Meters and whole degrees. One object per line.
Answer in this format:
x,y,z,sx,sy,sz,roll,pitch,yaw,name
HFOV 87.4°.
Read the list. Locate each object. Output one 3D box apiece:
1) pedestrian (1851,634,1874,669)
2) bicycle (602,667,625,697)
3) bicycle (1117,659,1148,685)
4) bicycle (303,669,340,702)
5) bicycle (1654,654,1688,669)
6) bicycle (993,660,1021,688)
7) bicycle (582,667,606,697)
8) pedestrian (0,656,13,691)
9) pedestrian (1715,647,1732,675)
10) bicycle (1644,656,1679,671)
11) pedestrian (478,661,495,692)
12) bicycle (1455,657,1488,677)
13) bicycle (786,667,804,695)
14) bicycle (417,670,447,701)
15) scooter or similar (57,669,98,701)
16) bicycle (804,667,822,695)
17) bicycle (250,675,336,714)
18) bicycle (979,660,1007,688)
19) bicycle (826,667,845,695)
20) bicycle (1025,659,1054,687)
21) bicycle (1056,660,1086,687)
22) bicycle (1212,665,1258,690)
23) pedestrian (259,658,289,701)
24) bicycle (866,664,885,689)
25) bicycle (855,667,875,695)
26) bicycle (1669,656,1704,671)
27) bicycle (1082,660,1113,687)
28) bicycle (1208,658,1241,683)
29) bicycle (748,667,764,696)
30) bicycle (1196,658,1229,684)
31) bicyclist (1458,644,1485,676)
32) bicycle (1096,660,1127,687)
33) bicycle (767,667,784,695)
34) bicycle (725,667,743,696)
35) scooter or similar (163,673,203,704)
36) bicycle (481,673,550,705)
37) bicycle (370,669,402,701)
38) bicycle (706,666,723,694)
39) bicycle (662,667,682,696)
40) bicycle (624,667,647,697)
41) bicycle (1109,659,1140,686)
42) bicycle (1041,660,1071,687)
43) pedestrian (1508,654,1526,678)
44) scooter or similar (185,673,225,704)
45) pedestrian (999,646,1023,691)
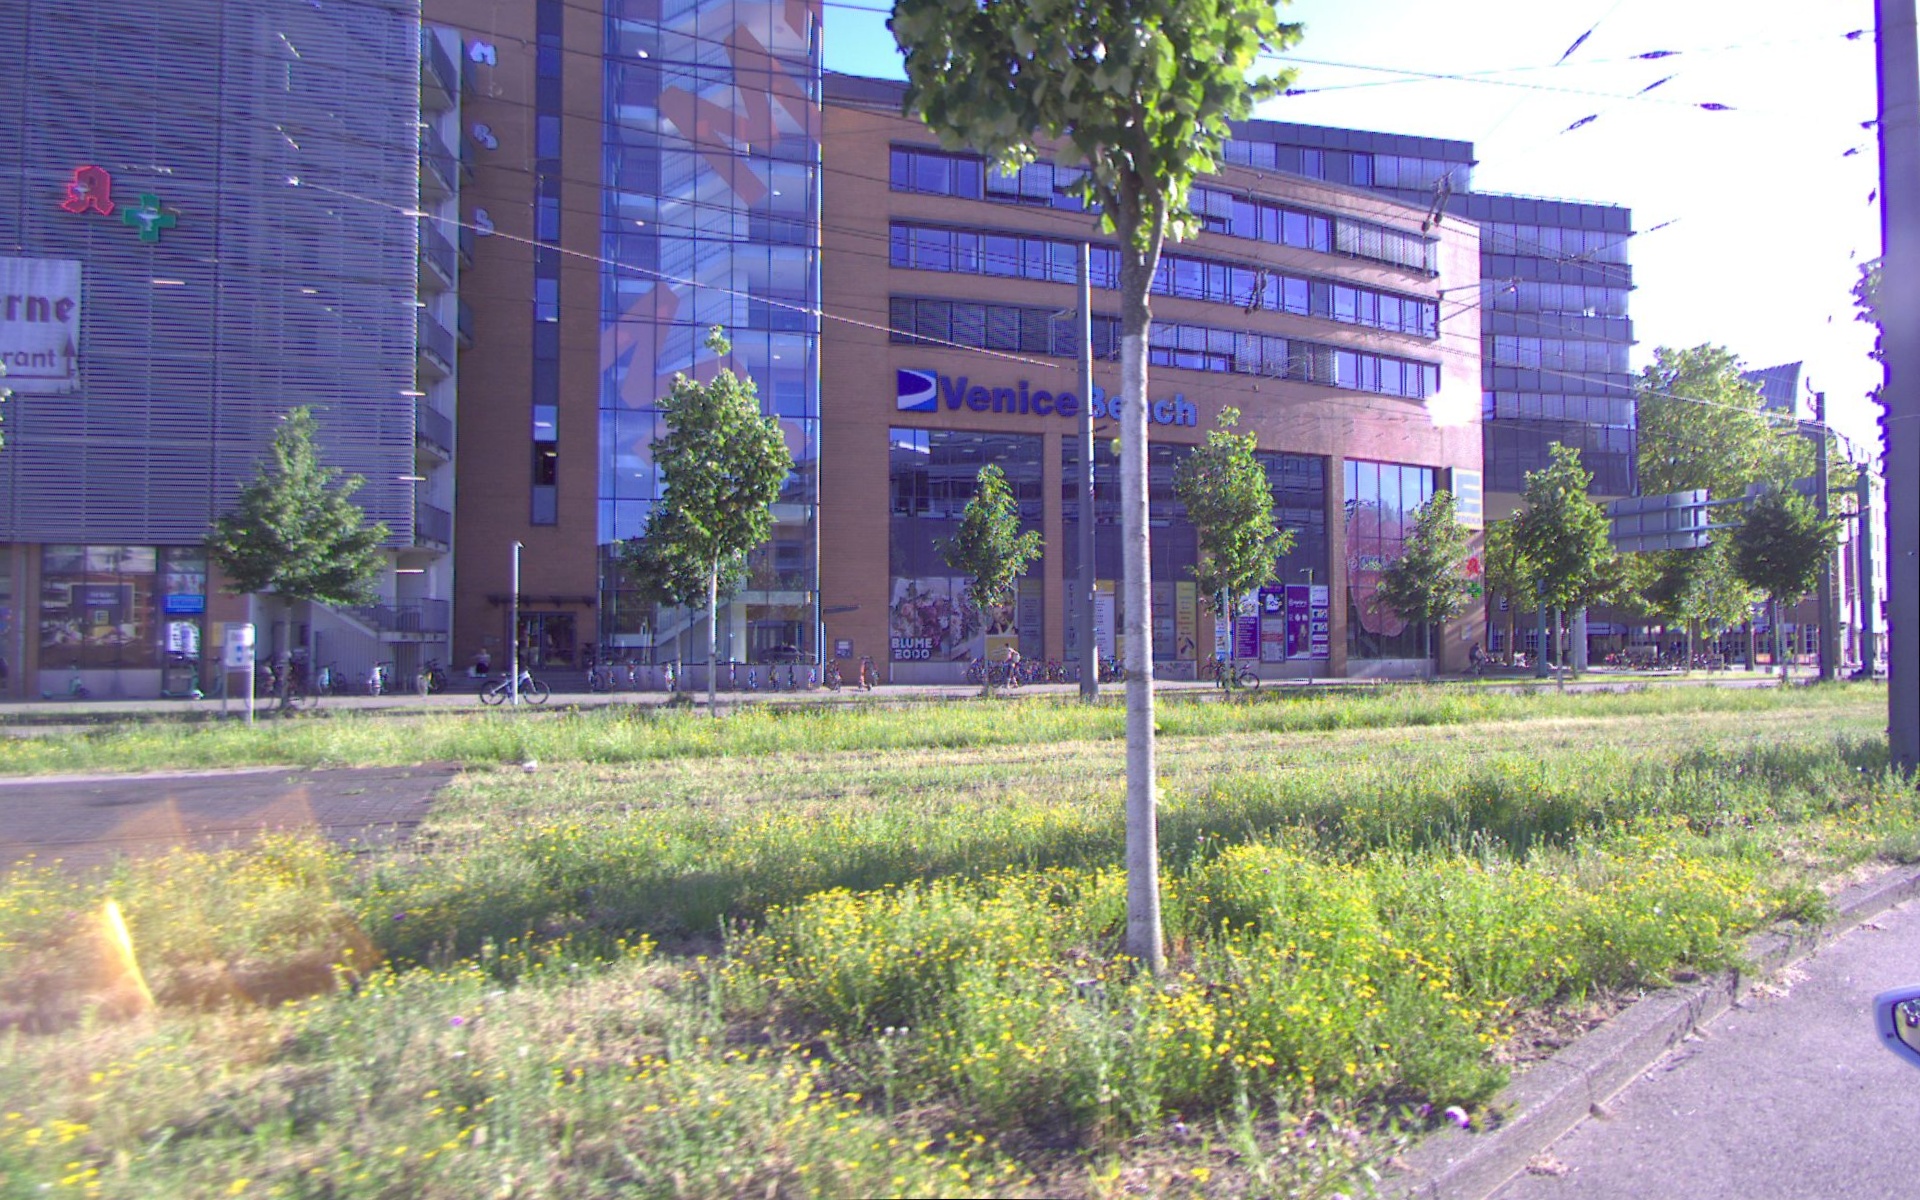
53.221,3.029,59.217,0.826,2.040,0.731,1,-1,-23,pedestrian
-11.707,2.769,33.988,0.482,0.938,1.768,0,-3,-11,bicycle
7.307,3.034,42.675,0.483,1.063,1.764,1,-3,-20,bicycle
-19.449,2.601,30.624,0.454,0.938,1.398,0,-3,-11,bicycle
45.752,3.938,64.646,1.743,0.964,0.539,-2,-3,37,bicycle
1.848,2.922,40.054,0.483,1.063,1.764,1,-3,-20,bicycle
-12.320,2.760,33.827,0.482,0.938,1.768,0,-3,-11,bicycle
-29.625,2.262,30.900,0.416,1.052,0.566,0,-2,-5,pedestrian
55.990,4.495,73.665,0.669,2.040,0.663,1,-3,-27,pedestrian
44.785,4.041,64.107,0.537,0.964,1.750,2,-3,-42,bicycle
-16.811,2.701,35.672,0.442,1.068,0.628,0,-2,-15,pedestrian
24.226,3.154,47.557,1.866,0.922,0.496,1,-3,-31,bicycle
-5.844,2.853,35.512,0.554,0.938,1.768,0,-3,-11,bicycle
-16.904,2.732,32.174,0.454,0.938,1.398,0,-3,-11,bicycle
-26.282,2.528,29.920,0.885,0.905,0.290,0,-2,-11,scooter or similar
-5.220,2.861,35.654,0.554,0.938,1.768,0,-3,-11,bicycle
-16.770,2.374,25.284,1.742,0.935,0.385,0,-2,-16,bicycle
1.294,2.912,39.829,0.483,1.063,1.764,1,-3,-20,bicycle
-4.457,2.871,35.799,0.554,0.938,1.768,0,-3,-11,bicycle
3.218,2.950,40.698,0.483,1.063,1.764,1,-3,-20,bicycle
4.545,3.003,41.098,0.483,1.063,1.764,1,-3,-20,bicycle
9.925,2.789,36.243,1.749,0.880,0.461,1,-3,-28,bicycle
-20.956,2.429,30.701,0.619,1.306,0.448,0,-2,-15,pedestrian
-3.322,2.982,39.485,0.554,0.938,1.768,0,-3,-11,bicycle
-3.428,2.885,36.067,0.554,0.938,1.768,0,-3,-11,bicycle
47.493,4.141,65.708,0.536,0.964,1.755,1,-3,-34,bicycle
5.672,3.024,41.549,0.483,1.063,1.764,1,-3,-20,bicycle
11.642,3.107,44.224,0.483,1.063,1.764,1,-3,-20,bicycle
-7.134,2.835,35.179,0.554,0.938,1.768,0,-3,-11,bicycle
11.056,3.097,43.996,0.483,1.063,1.764,1,-3,-20,bicycle
24.208,2.849,47.556,1.005,1.484,0.675,1,-3,-31,bicyclist
6.277,3.034,41.770,0.483,1.063,1.764,1,-3,-20,bicycle
-6.505,2.844,35.355,0.554,0.938,1.768,0,-3,-11,bicycle
-7.856,2.824,34.995,0.554,0.938,1.768,0,-3,-11,bicycle
-23.463,2.665,30.326,0.285,0.905,0.900,-2,-3,28,scooter or similar
-12.711,2.548,28.769,1.742,0.880,0.385,0,-2,-16,bicycle
-18.182,2.676,31.834,0.454,0.938,1.398,0,-3,-11,bicycle
-8.527,2.764,34.905,0.482,0.938,1.768,0,-3,-11,bicycle
-9.878,2.790,34.501,0.482,0.938,1.768,0,-3,-11,bicycle
-11.037,2.780,34.190,0.554,0.938,1.768,0,-3,-11,bicycle
6.893,3.013,42.052,0.483,1.063,1.764,1,-3,-20,bicycle
3.896,2.994,40.912,0.483,1.063,1.764,1,-3,-20,bicycle
39.107,4.609,70.558,0.826,1.667,0.731,1,-3,-23,pedestrian
-22.668,2.653,30.162,0.285,0.905,0.901,-1,-3,25,scooter or similar
1.946,2.588,38.344,0.666,1.690,0.743,1,-2,-22,pedestrian
